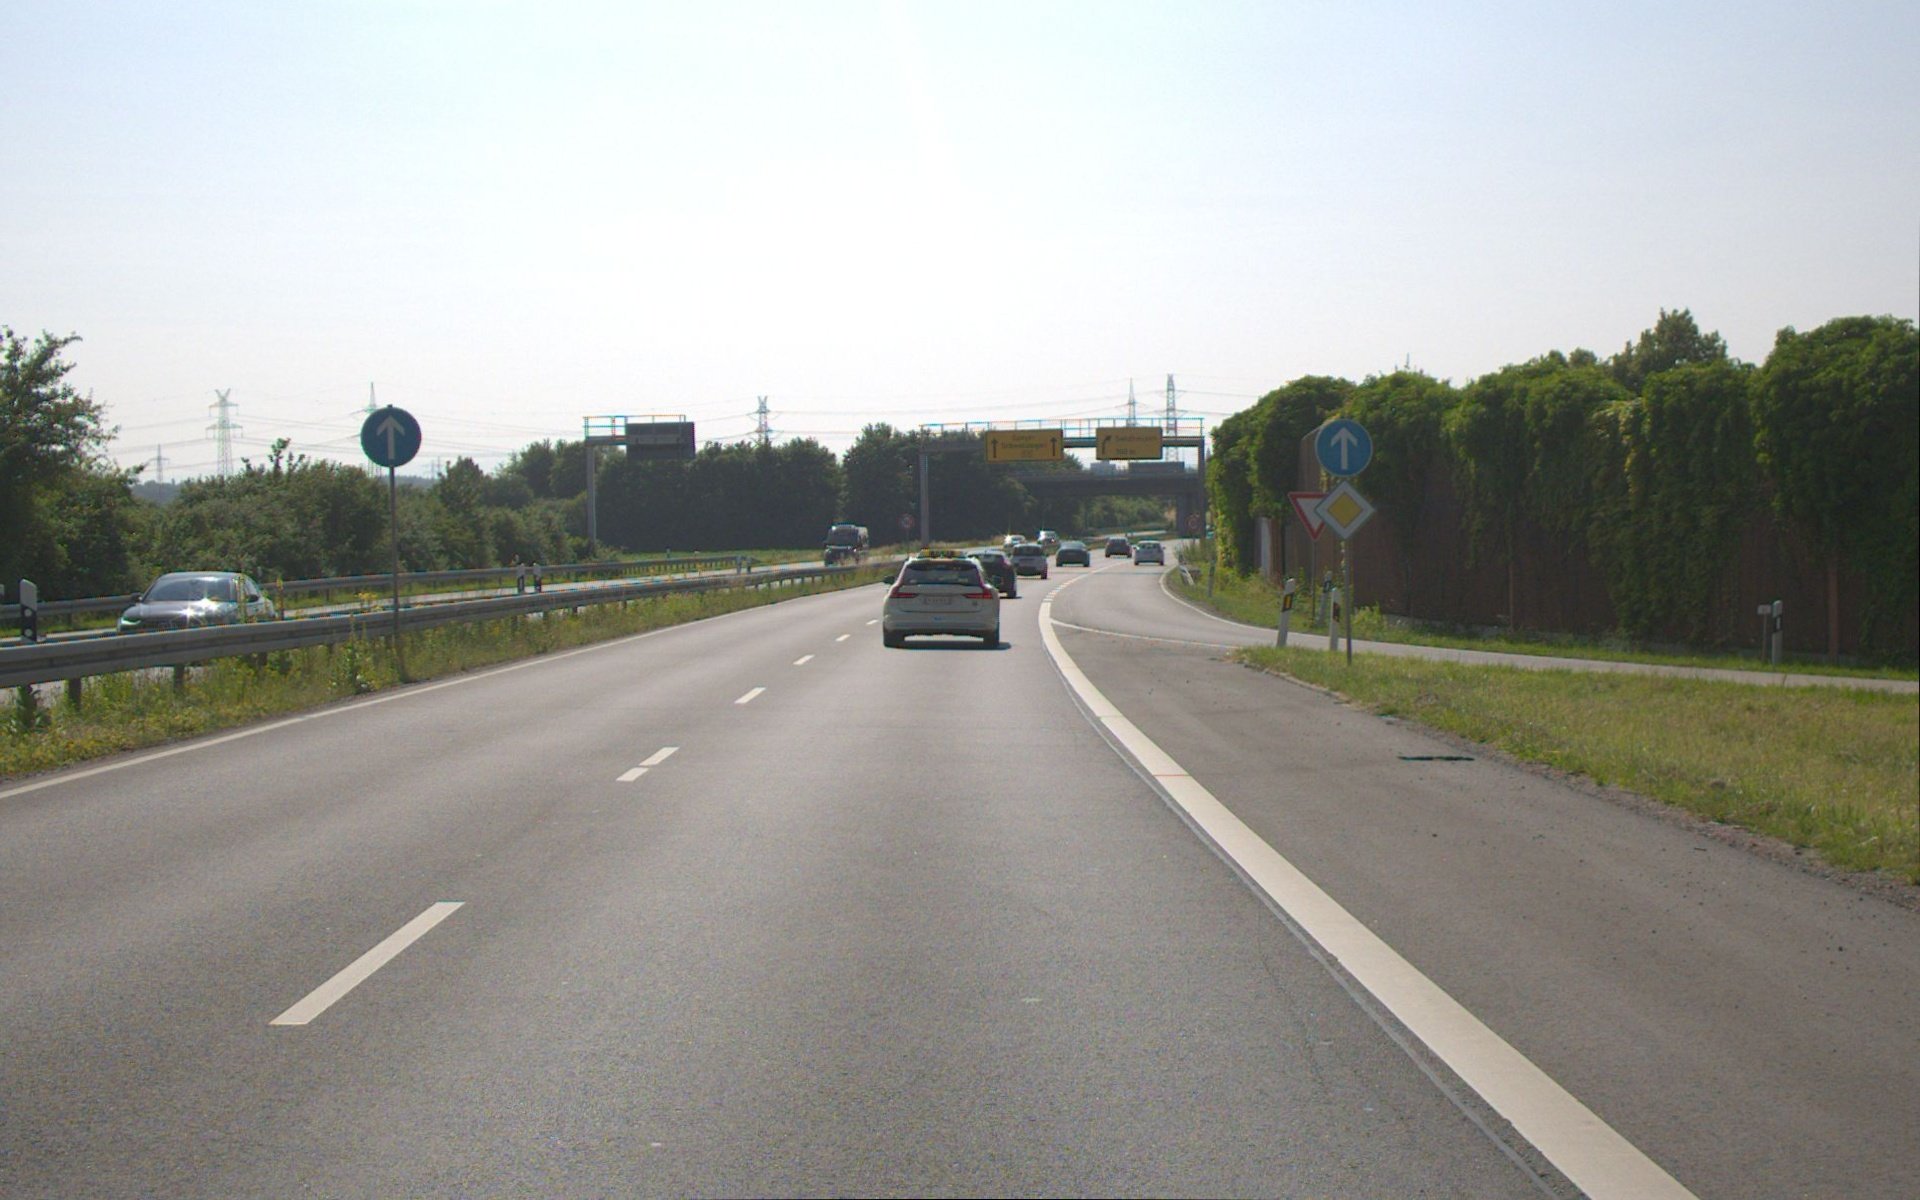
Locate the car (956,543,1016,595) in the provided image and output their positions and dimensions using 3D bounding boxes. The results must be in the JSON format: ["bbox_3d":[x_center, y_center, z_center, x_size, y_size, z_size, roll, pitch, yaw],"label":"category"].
[{"bbox_3d":[0.810,-0.955,104.628,1.793,1.538,3.672,0,1,1],"label":"car"}]

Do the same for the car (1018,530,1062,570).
[{"bbox_3d":[3.545,-2.223,151.865,1.769,1.730,3.631,0,1,5],"label":"car"}]

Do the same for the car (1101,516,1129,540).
[{"bbox_3d":[11.201,-5.208,248.158,1.841,1.692,3.999,0,1,5],"label":"car"}]

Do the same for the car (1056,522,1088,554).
[{"bbox_3d":[6.538,-3.622,201.041,1.841,1.796,4.000,0,1,2],"label":"car"}]

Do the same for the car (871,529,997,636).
[{"bbox_3d":[-0.454,-0.318,56.294,1.958,1.596,4.108,1,2,-1],"label":"car"}]

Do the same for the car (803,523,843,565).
[{"bbox_3d":[-8.350,-3.434,209.991,2.139,2.532,5.809,0,1,1],"label":"car"}]

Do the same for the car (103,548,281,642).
[{"bbox_3d":[-12.180,-0.102,54.784,1.800,1.415,4.676,1,1,0],"label":"car"}]
